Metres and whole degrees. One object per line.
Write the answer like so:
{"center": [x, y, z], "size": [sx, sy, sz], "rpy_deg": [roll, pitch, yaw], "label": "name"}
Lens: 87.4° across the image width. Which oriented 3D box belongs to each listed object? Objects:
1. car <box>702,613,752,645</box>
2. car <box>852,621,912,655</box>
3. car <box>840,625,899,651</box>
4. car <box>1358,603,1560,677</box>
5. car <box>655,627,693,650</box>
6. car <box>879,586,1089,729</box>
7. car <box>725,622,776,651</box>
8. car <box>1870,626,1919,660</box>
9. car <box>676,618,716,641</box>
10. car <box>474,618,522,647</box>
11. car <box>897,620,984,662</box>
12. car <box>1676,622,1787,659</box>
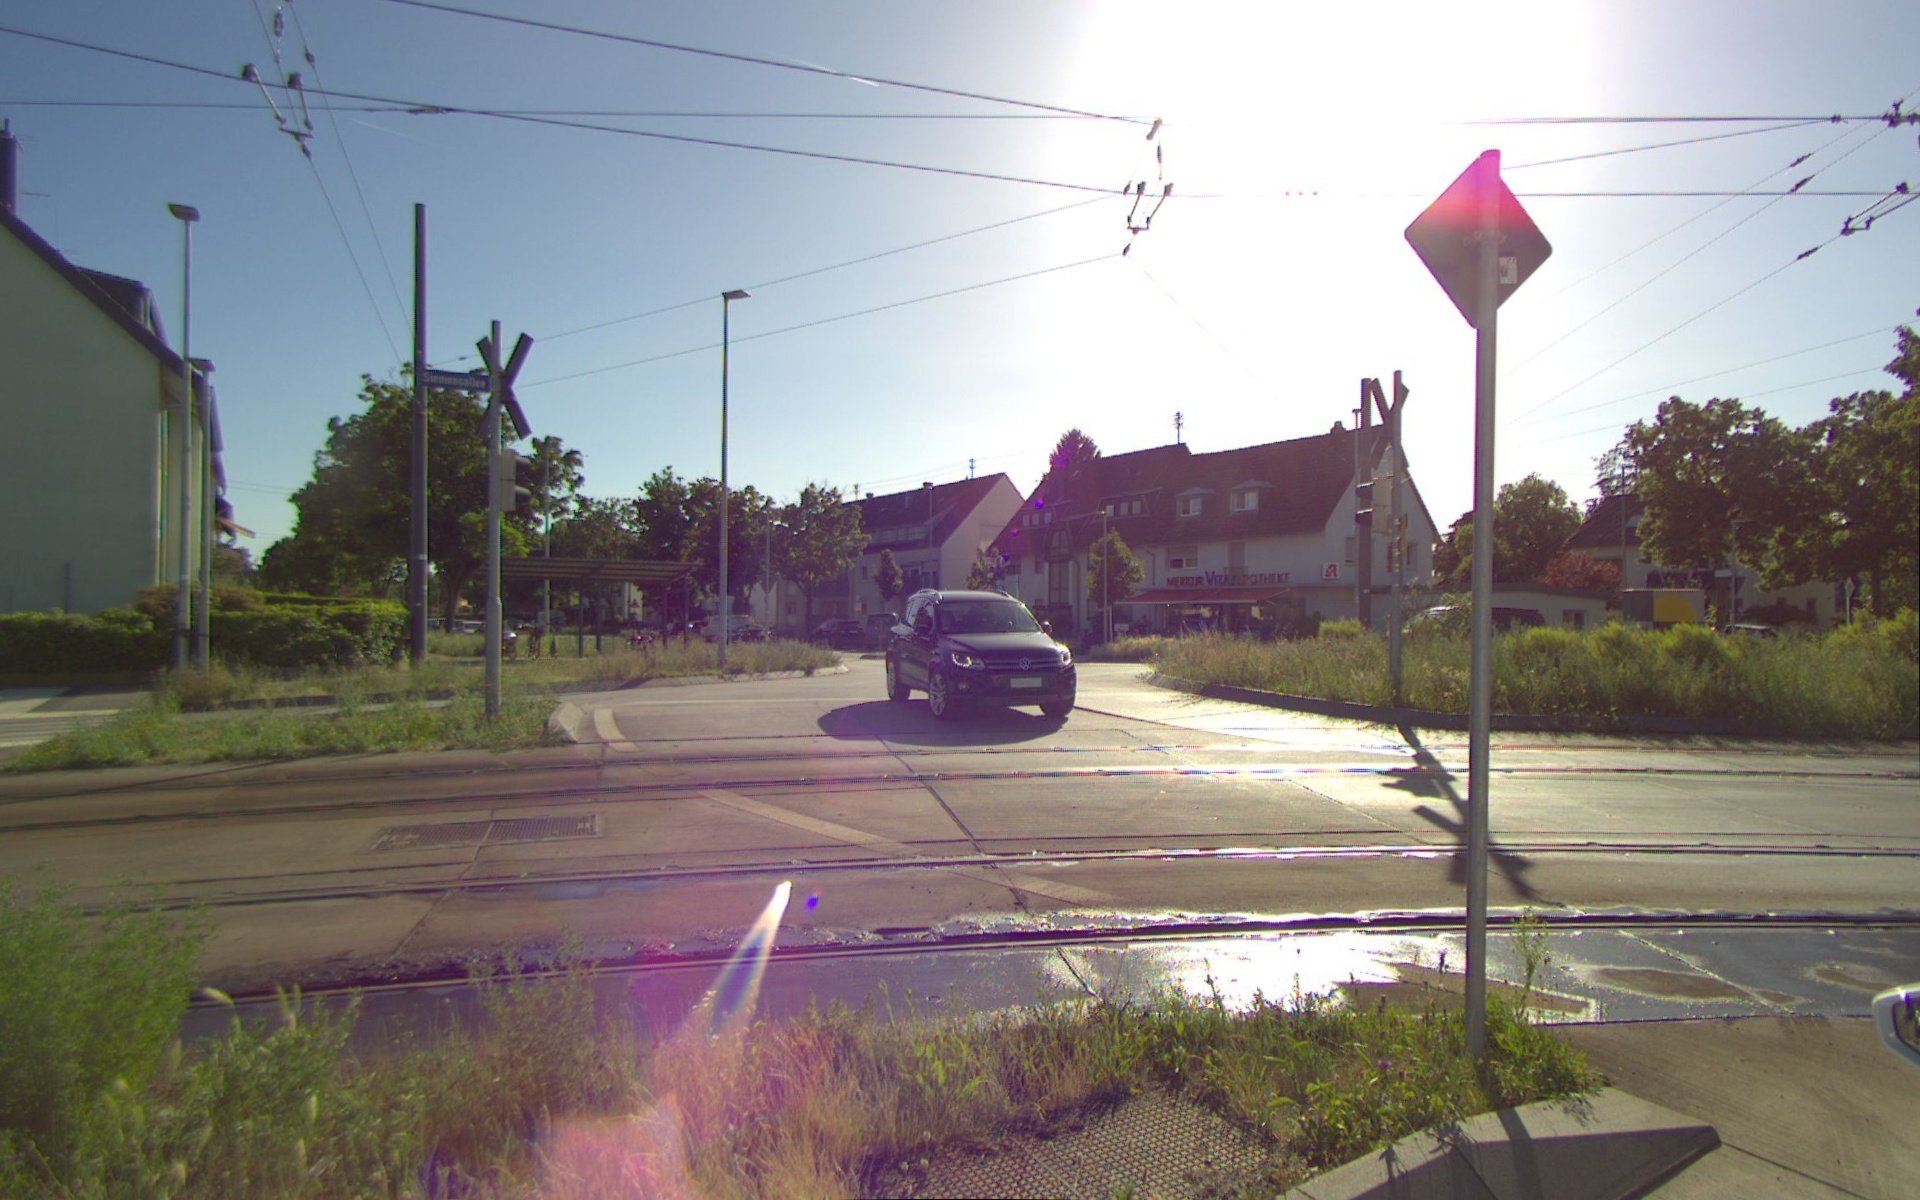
{"center": [-16.400, 2.028, 70.557], "size": [1.879, 2.041, 4.326], "rpy_deg": [1, 0, -36], "label": "car"}
{"center": [-4.019, 1.938, 51.534], "size": [3.020, 1.641, 1.409], "rpy_deg": [1, 0, -6], "label": "car"}
{"center": [-5.026, 2.119, 55.621], "size": [3.106, 1.315, 1.380], "rpy_deg": [1, 0, -11], "label": "car"}
{"center": [15.149, 1.213, 30.681], "size": [5.136, 2.007, 2.000], "rpy_deg": [-2, -2, -2], "label": "car"}
{"center": [-22.411, 2.963, 78.601], "size": [1.537, 1.698, 4.177], "rpy_deg": [1, -1, -36], "label": "car"}
{"center": [0.156, 0.688, 14.237], "size": [1.788, 1.693, 4.243], "rpy_deg": [0, 0, -16], "label": "car"}
{"center": [-13.563, 2.350, 64.916], "size": [1.903, 1.637, 4.247], "rpy_deg": [1, 0, -31], "label": "car"}
{"center": [45.216, 2.017, 48.026], "size": [3.765, 1.484, 1.787], "rpy_deg": [1, 0, -36], "label": "car"}
{"center": [-19.735, 2.180, 75.022], "size": [1.531, 1.613, 4.035], "rpy_deg": [1, -1, -36], "label": "car"}
{"center": [-25.757, 1.797, 55.984], "size": [1.808, 1.411, 3.753], "rpy_deg": [1, 0, -35], "label": "car"}
{"center": [-0.981, 1.876, 47.272], "size": [1.981, 1.721, 4.327], "rpy_deg": [1, 0, -36], "label": "car"}
{"center": [39.408, 2.037, 51.409], "size": [1.974, 1.717, 4.023], "rpy_deg": [1, 0, -26], "label": "car"}
